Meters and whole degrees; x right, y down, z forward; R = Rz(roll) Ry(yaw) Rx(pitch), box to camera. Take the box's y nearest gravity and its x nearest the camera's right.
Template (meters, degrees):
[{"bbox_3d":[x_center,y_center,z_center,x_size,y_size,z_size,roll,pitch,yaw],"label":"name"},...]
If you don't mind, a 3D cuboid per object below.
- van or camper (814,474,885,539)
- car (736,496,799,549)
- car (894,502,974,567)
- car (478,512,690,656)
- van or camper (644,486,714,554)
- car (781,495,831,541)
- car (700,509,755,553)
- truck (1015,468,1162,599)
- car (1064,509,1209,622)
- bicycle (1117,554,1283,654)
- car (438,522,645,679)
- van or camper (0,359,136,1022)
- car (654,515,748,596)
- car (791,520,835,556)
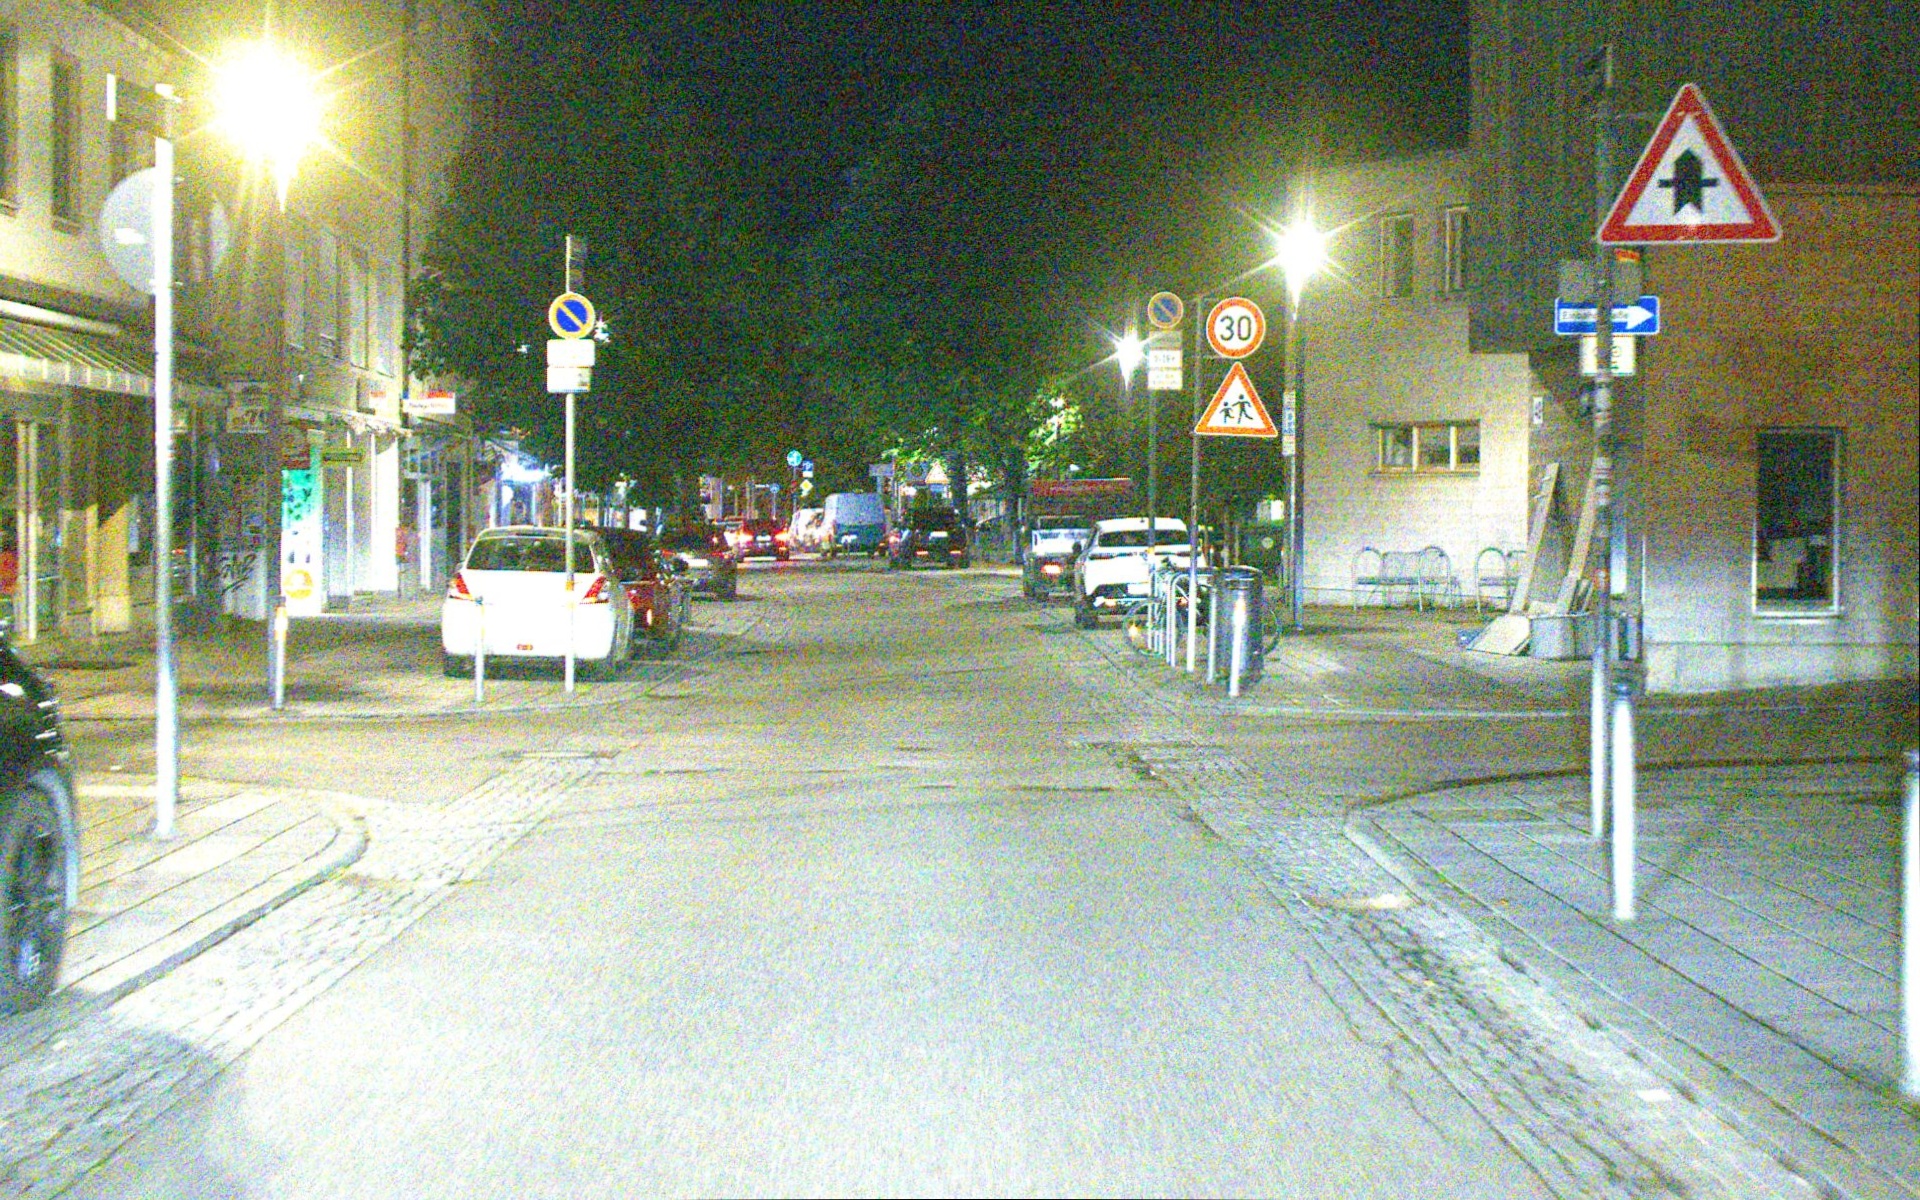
[{"bbox_3d":[-4.049,-3.413,125.625,2.108,2.309,4.263,-2,2,-8],"label":"van or camper"},{"bbox_3d":[-6.736,-2.721,120.155,1.993,1.817,4.001,0,1,-6],"label":"car"},{"bbox_3d":[-0.777,-1.924,99.401,1.814,1.822,4.348,-1,2,-7],"label":"car"},{"bbox_3d":[-4.332,-0.243,40.314,2.019,1.483,5.008,3,1,-2],"label":"car"},{"bbox_3d":[-8.697,-2.479,106.216,1.866,2.004,4.263,1,1,-8],"label":"van or camper"},{"bbox_3d":[-6.477,-3.459,144.164,1.839,1.894,3.846,0,2,-6],"label":"car"},{"bbox_3d":[-9.105,-2.715,134.346,1.993,1.697,4.001,0,1,-6],"label":"car"},{"bbox_3d":[2.332,-1.270,64.059,2.336,2.304,5.781,-1,2,-1],"label":"truck"},{"bbox_3d":[2.454,-0.526,48.629,1.789,1.486,4.059,-1,1,0],"label":"car"},{"bbox_3d":[2.597,0.039,37.205,1.754,1.058,0.346,-1,1,-3],"label":"bicycle"},{"bbox_3d":[-4.201,-0.035,34.985,1.728,1.471,3.847,1,1,-2],"label":"car"},{"bbox_3d":[-3.823,0.284,8.740,1.846,1.935,5.153,1,1,4],"label":"van or camper"},{"bbox_3d":[-5.182,-0.916,68.446,1.673,1.538,4.232,1,1,-7],"label":"car"},{"bbox_3d":[-5.920,-2.517,138.329,1.531,1.413,3.846,0,2,-6],"label":"car"}]
